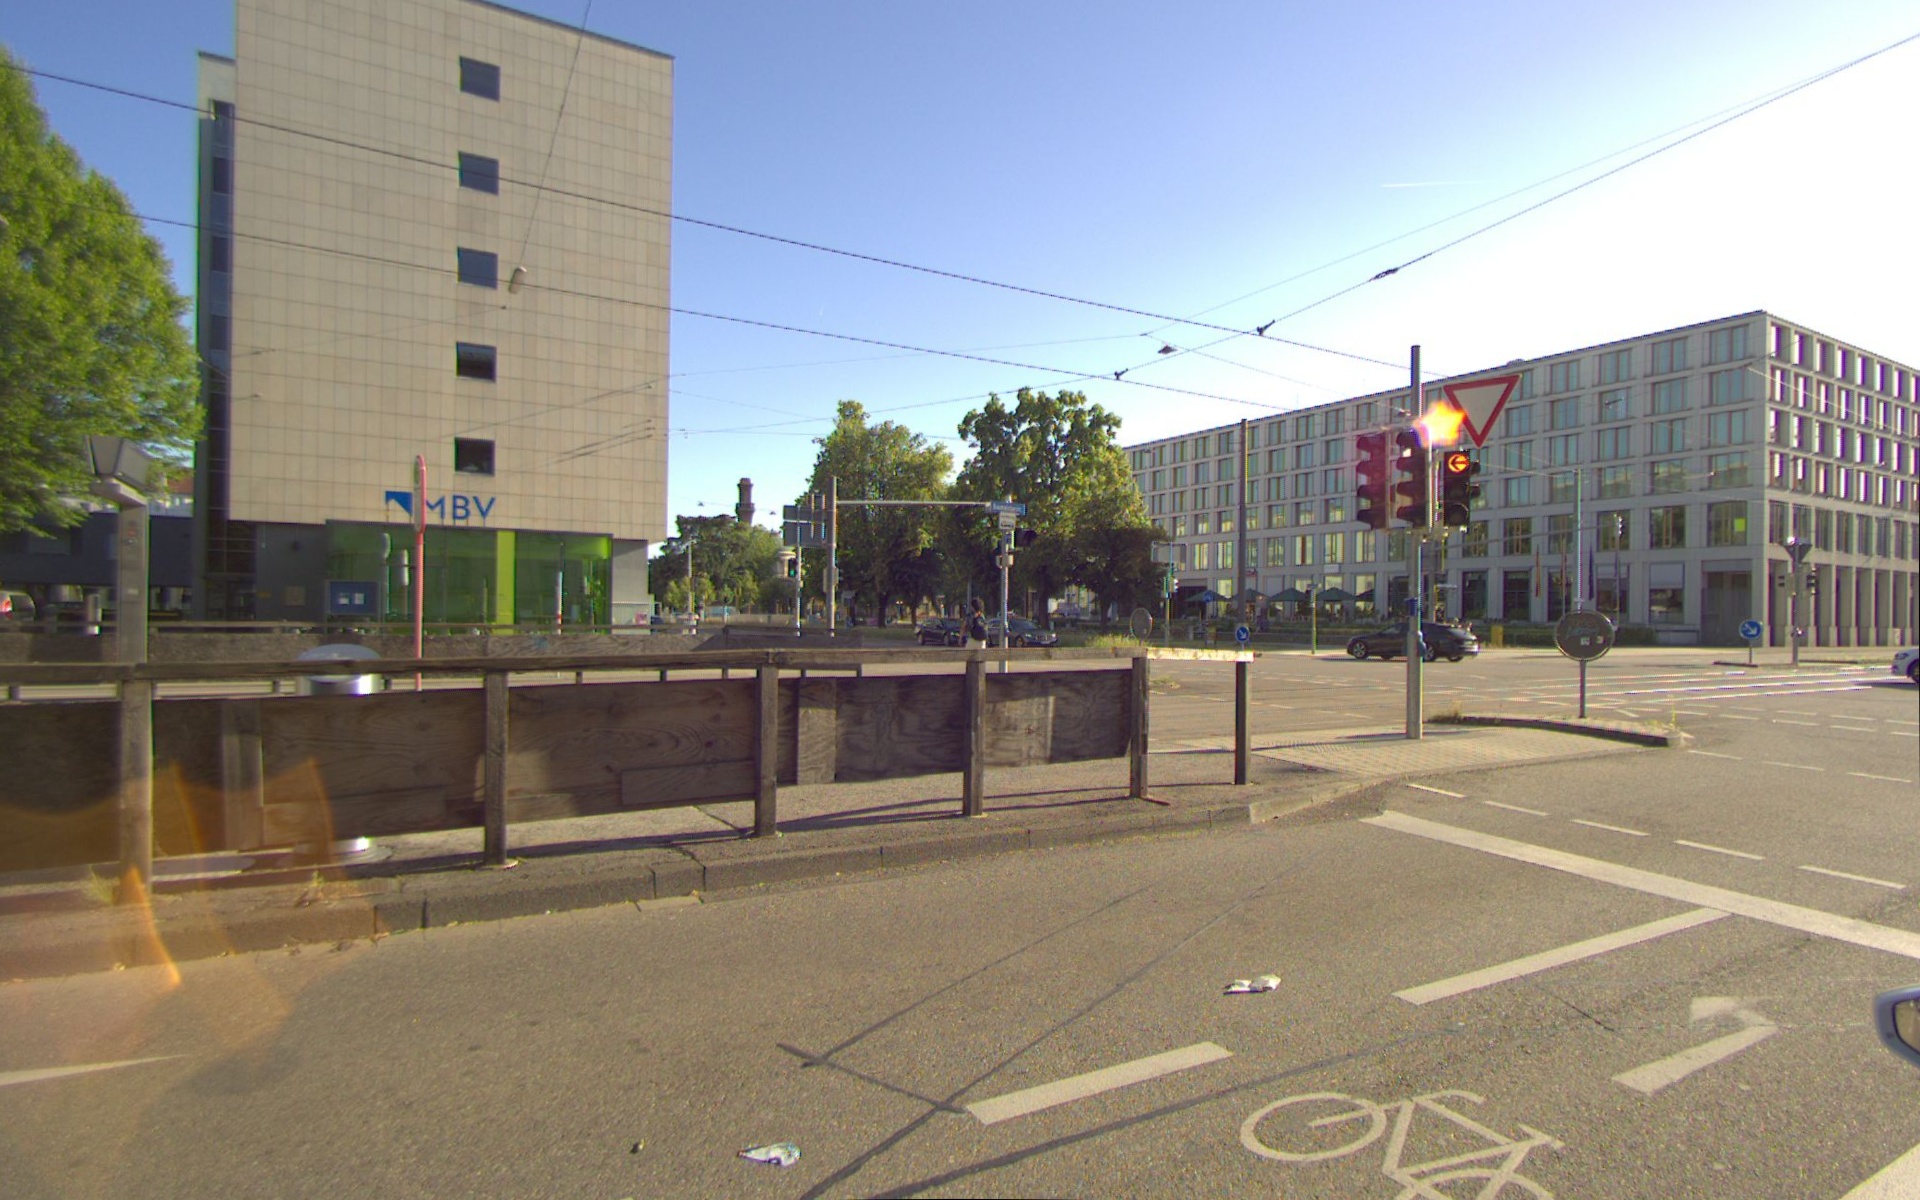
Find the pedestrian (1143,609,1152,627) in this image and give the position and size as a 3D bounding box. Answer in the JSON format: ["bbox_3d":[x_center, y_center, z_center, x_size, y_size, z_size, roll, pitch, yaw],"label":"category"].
[{"bbox_3d":[17.543,1.653,93.889,0.556,1.691,0.537,2,0,-33],"label":"pedestrian"}]

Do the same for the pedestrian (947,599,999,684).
[{"bbox_3d":[0.275,0.863,21.062,0.817,1.739,0.755,1,-1,-28],"label":"pedestrian"}]

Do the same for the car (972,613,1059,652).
[{"bbox_3d":[2.590,1.515,47.803,1.833,1.602,4.487,1,1,-34],"label":"car"}]

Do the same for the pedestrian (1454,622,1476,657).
[{"bbox_3d":[24.337,1.913,48.414,0.615,1.666,0.787,1,-1,-34],"label":"pedestrian"}]

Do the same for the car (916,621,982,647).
[{"bbox_3d":[-0.633,1.796,53.699,1.755,1.311,4.209,1,-1,-30],"label":"car"}]

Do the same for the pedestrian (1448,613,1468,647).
[{"bbox_3d":[24.637,1.480,49.687,0.615,1.666,0.690,1,-1,-34],"label":"pedestrian"}]

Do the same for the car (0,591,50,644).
[{"bbox_3d":[-27.722,0.451,27.800,3.371,1.431,1.562,2,0,-20],"label":"car"}]

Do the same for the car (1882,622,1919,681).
[{"bbox_3d":[24.986,1.301,24.059,1.614,1.452,4.021,3,-2,-31],"label":"car"}]

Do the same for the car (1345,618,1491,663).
[{"bbox_3d":[17.257,1.508,38.062,1.978,1.433,4.711,4,-2,-31],"label":"car"}]
